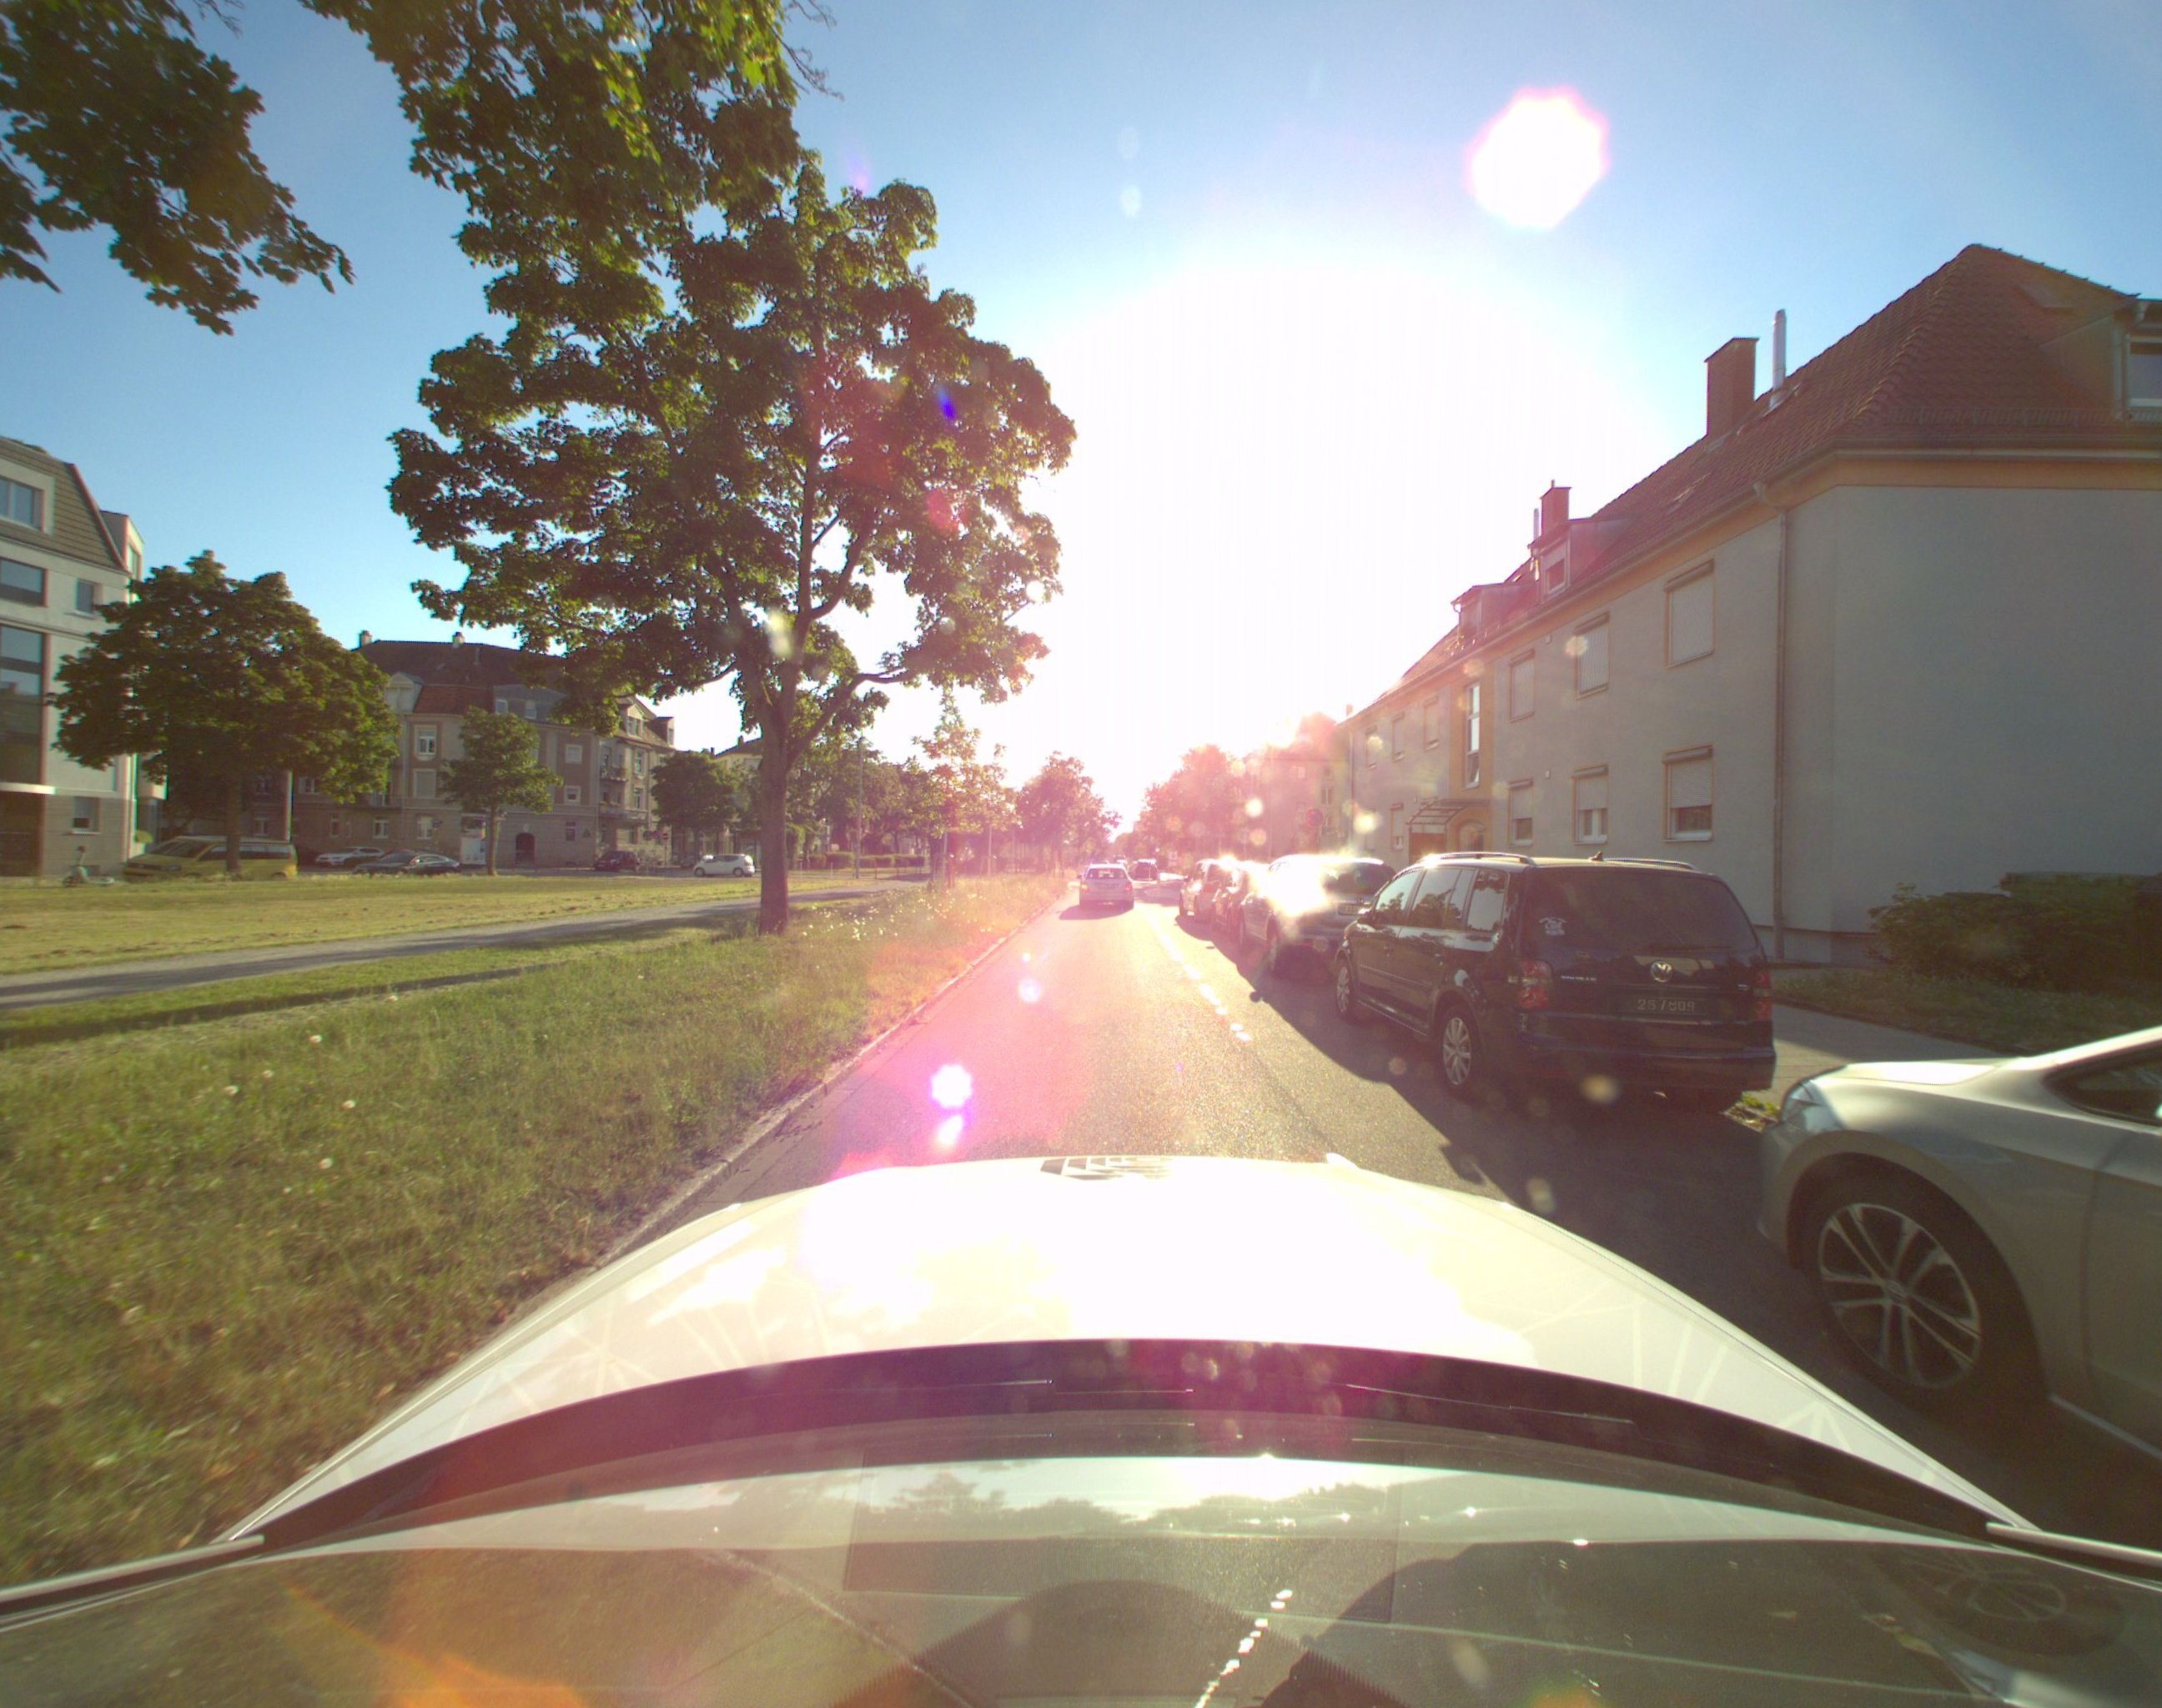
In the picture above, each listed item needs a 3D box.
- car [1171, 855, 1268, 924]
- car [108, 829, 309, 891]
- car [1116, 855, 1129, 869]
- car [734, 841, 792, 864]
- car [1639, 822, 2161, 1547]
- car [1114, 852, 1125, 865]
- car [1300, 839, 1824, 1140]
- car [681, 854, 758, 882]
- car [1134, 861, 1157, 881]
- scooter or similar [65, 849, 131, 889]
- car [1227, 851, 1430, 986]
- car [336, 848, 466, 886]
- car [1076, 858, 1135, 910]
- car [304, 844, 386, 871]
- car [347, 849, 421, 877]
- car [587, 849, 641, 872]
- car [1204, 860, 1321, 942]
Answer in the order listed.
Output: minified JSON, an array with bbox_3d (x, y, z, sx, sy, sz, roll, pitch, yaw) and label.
[{"bbox_3d":[3.712,0.903,22.601,1.712,1.639,4.561,3,0,-2],"label":"car"},{"bbox_3d":[-32.651,0.254,30.771,1.986,2.057,5.054,-3,-1,2],"label":"car"},{"bbox_3d":[6.318,1.193,124.638,1.981,2.023,4.002,1,0,2],"label":"car"},{"bbox_3d":[-38.582,-0.163,98.765,6.332,2.720,1.984,1,0,-29],"label":"car"},{"bbox_3d":[3.215,0.733,1.189,1.720,1.561,4.414,2,0,-1],"label":"car"},{"bbox_3d":[6.800,0.785,142.808,1.854,2.193,5.073,1,0,2],"label":"car"},{"bbox_3d":[3.367,0.800,6.996,1.759,1.635,4.765,2,-1,1],"label":"car"},{"bbox_3d":[-22.693,0.887,51.252,3.883,1.596,1.998,-3,-1,-2],"label":"car"},{"bbox_3d":[5.218,1.356,66.416,1.715,1.597,4.002,0,-1,2],"label":"car"},{"bbox_3d":[-28.676,0.421,23.781,0.391,1.127,1.294,2,-1,-6],"label":"scooter or similar"},{"bbox_3d":[3.480,0.822,12.433,1.771,1.643,4.757,1,-1,1],"label":"car"},{"bbox_3d":[-32.616,0.612,39.286,1.975,1.637,4.832,-3,-1,3],"label":"car"},{"bbox_3d":[0.847,0.935,27.107,1.816,1.566,4.002,0,0,2],"label":"car"},{"bbox_3d":[-50.017,0.269,55.488,1.689,1.637,4.080,-3,-1,3],"label":"car"},{"bbox_3d":[-42.068,0.514,49.162,3.557,1.481,1.693,2,1,17],"label":"car"},{"bbox_3d":[-37.110,0.552,64.846,1.636,1.707,4.297,-3,-1,3],"label":"car"},{"bbox_3d":[3.739,0.907,17.368,1.723,1.526,3.735,-1,0,1],"label":"car"}]
